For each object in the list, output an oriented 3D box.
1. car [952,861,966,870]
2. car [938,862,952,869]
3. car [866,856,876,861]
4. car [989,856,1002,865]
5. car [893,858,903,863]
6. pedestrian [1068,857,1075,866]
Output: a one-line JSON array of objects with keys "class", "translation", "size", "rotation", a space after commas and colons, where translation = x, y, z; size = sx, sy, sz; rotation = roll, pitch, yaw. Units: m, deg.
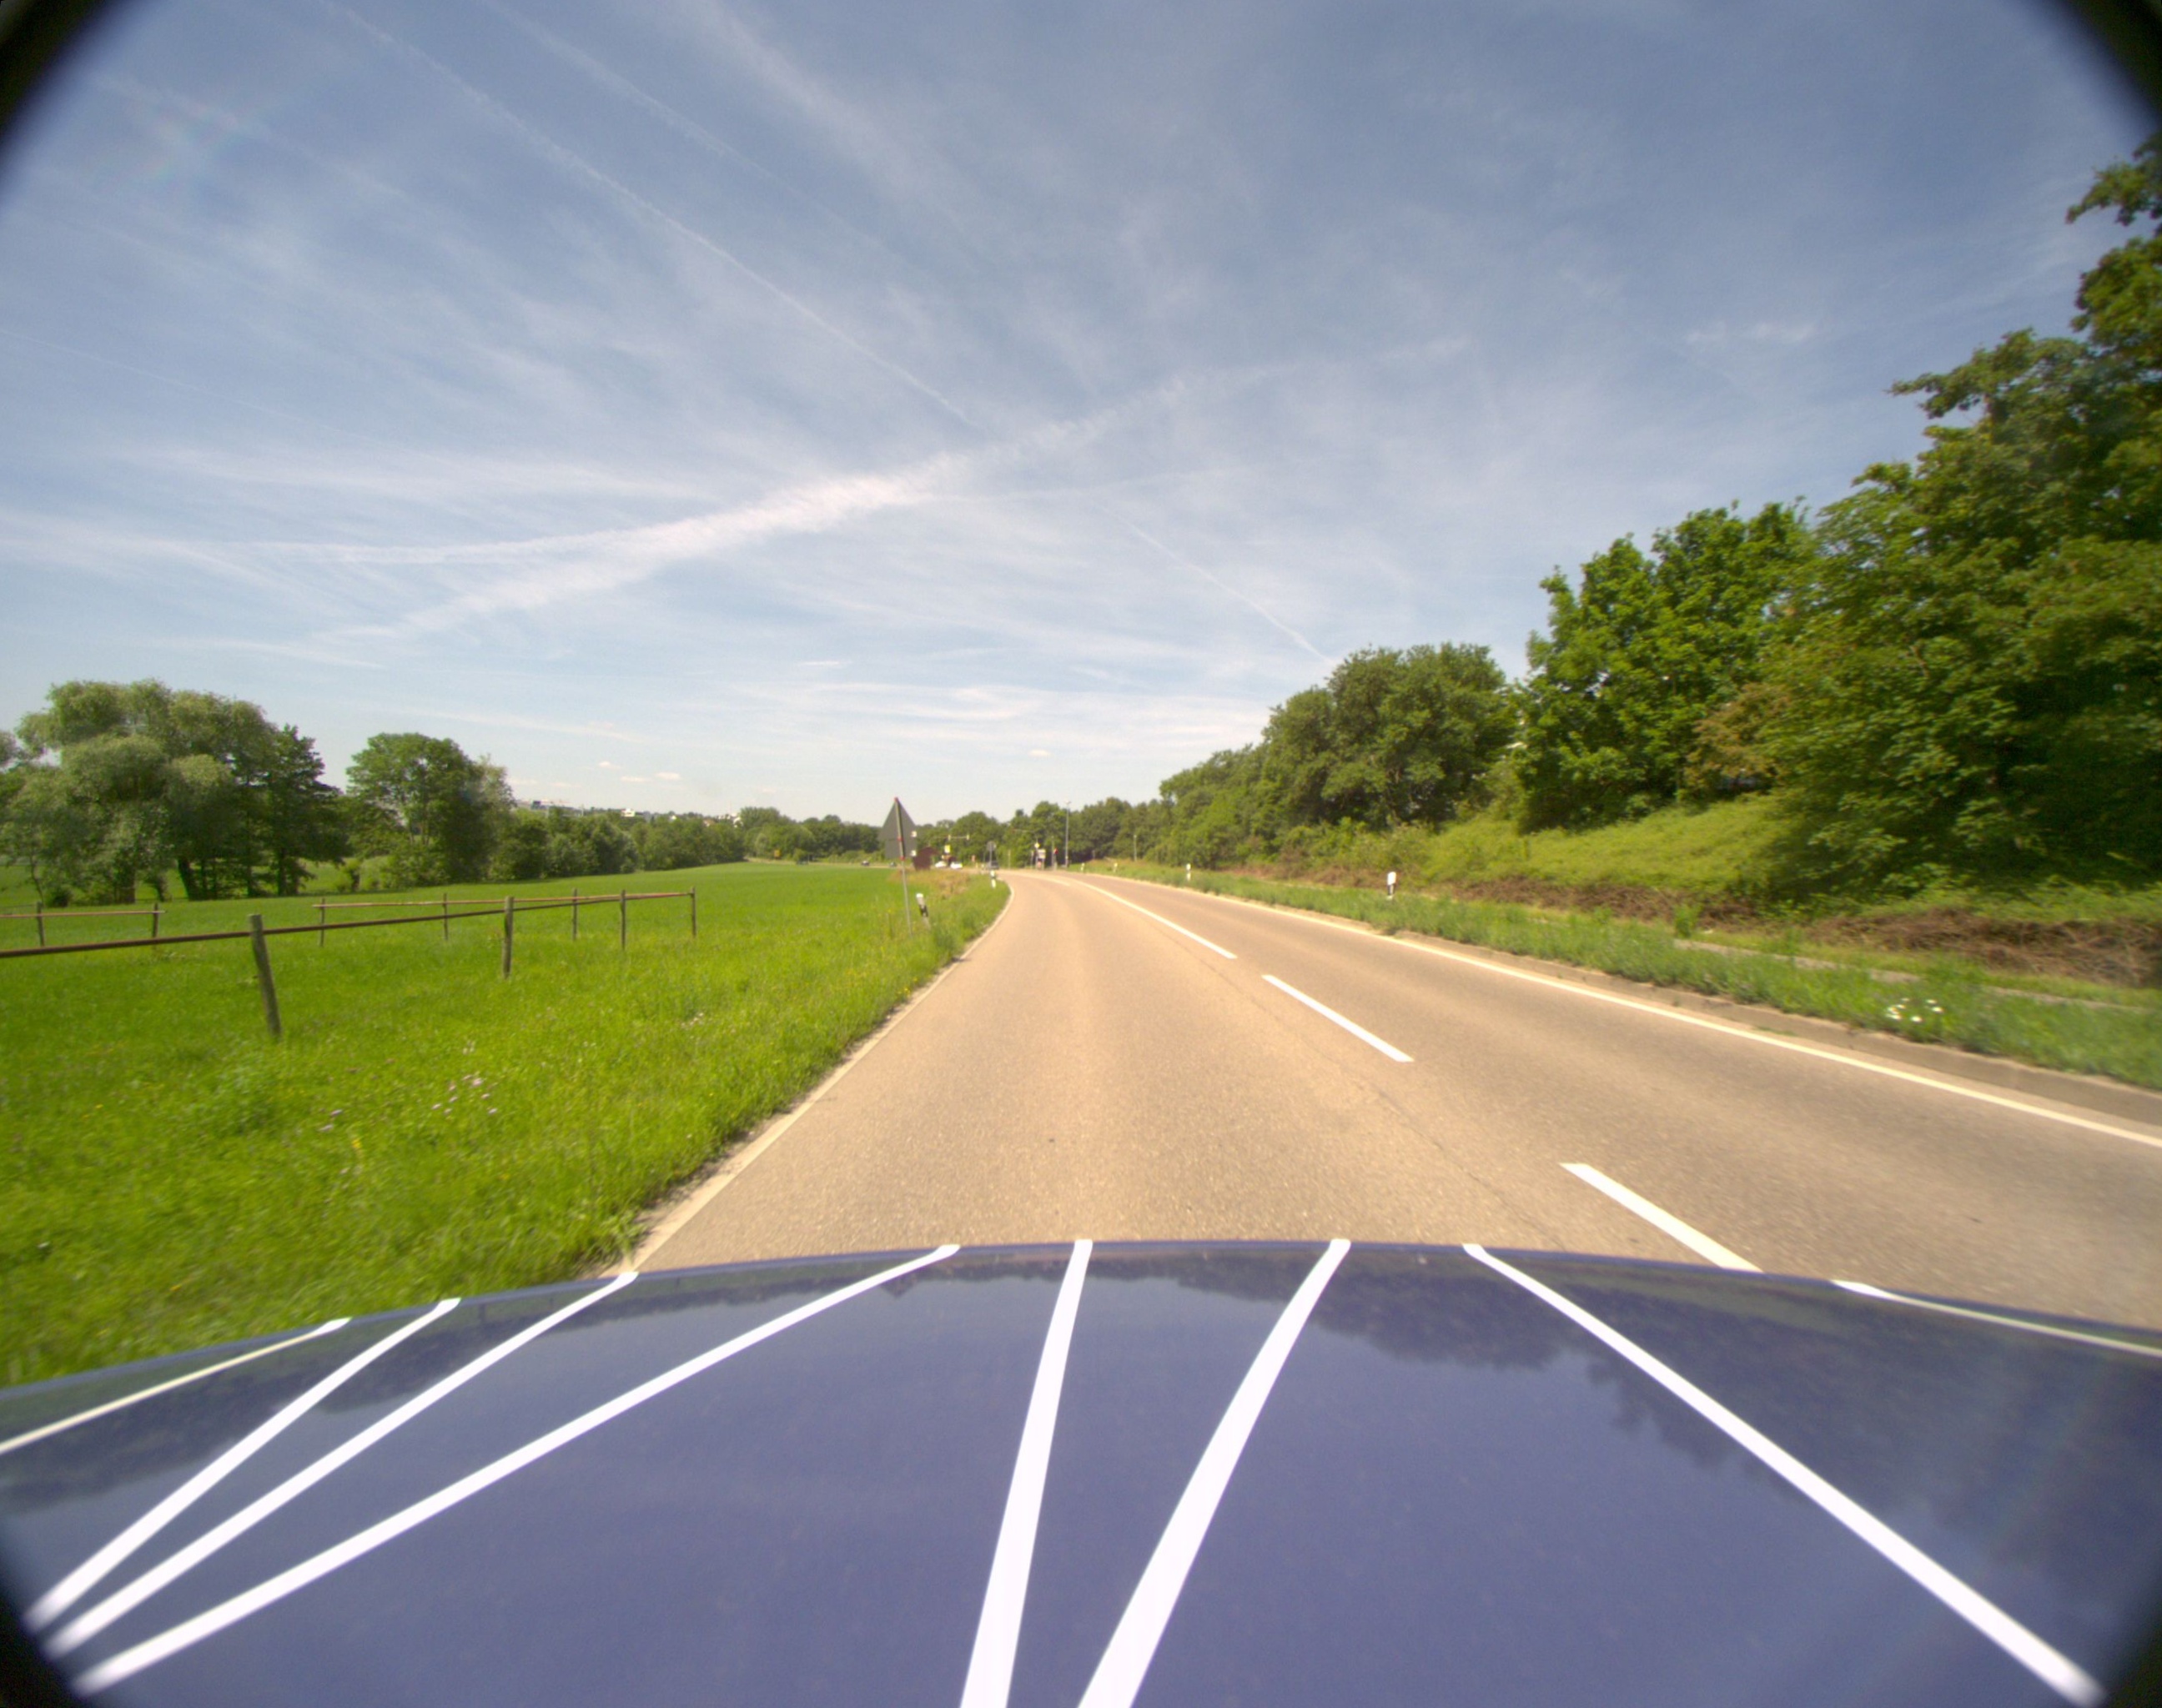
[{"class": "car", "translation": [-24.032, 2.270, 149.469], "size": [2.001, 1.575, 3.994], "rotation": [-2, 0, -18]}, {"class": "car", "translation": [-31.962, 2.705, 178.203], "size": [1.946, 1.539, 4.618], "rotation": [-2, 0, -27]}, {"class": "car", "translation": [-66.764, 1.341, 241.859], "size": [1.984, 1.553, 4.179], "rotation": [-2, 0, -31]}, {"class": "car", "translation": [-15.132, 1.135, 134.607], "size": [1.761, 1.525, 4.223], "rotation": [-2, 0, -13]}, {"class": "car", "translation": [-52.916, 1.817, 219.959], "size": [1.715, 1.474, 3.823], "rotation": [-2, 0, -31]}, {"class": "pedestrian", "translation": [-1.840, 1.492, 148.707], "size": [0.920, 1.726, 0.900], "rotation": [-2, 1, 18]}]
